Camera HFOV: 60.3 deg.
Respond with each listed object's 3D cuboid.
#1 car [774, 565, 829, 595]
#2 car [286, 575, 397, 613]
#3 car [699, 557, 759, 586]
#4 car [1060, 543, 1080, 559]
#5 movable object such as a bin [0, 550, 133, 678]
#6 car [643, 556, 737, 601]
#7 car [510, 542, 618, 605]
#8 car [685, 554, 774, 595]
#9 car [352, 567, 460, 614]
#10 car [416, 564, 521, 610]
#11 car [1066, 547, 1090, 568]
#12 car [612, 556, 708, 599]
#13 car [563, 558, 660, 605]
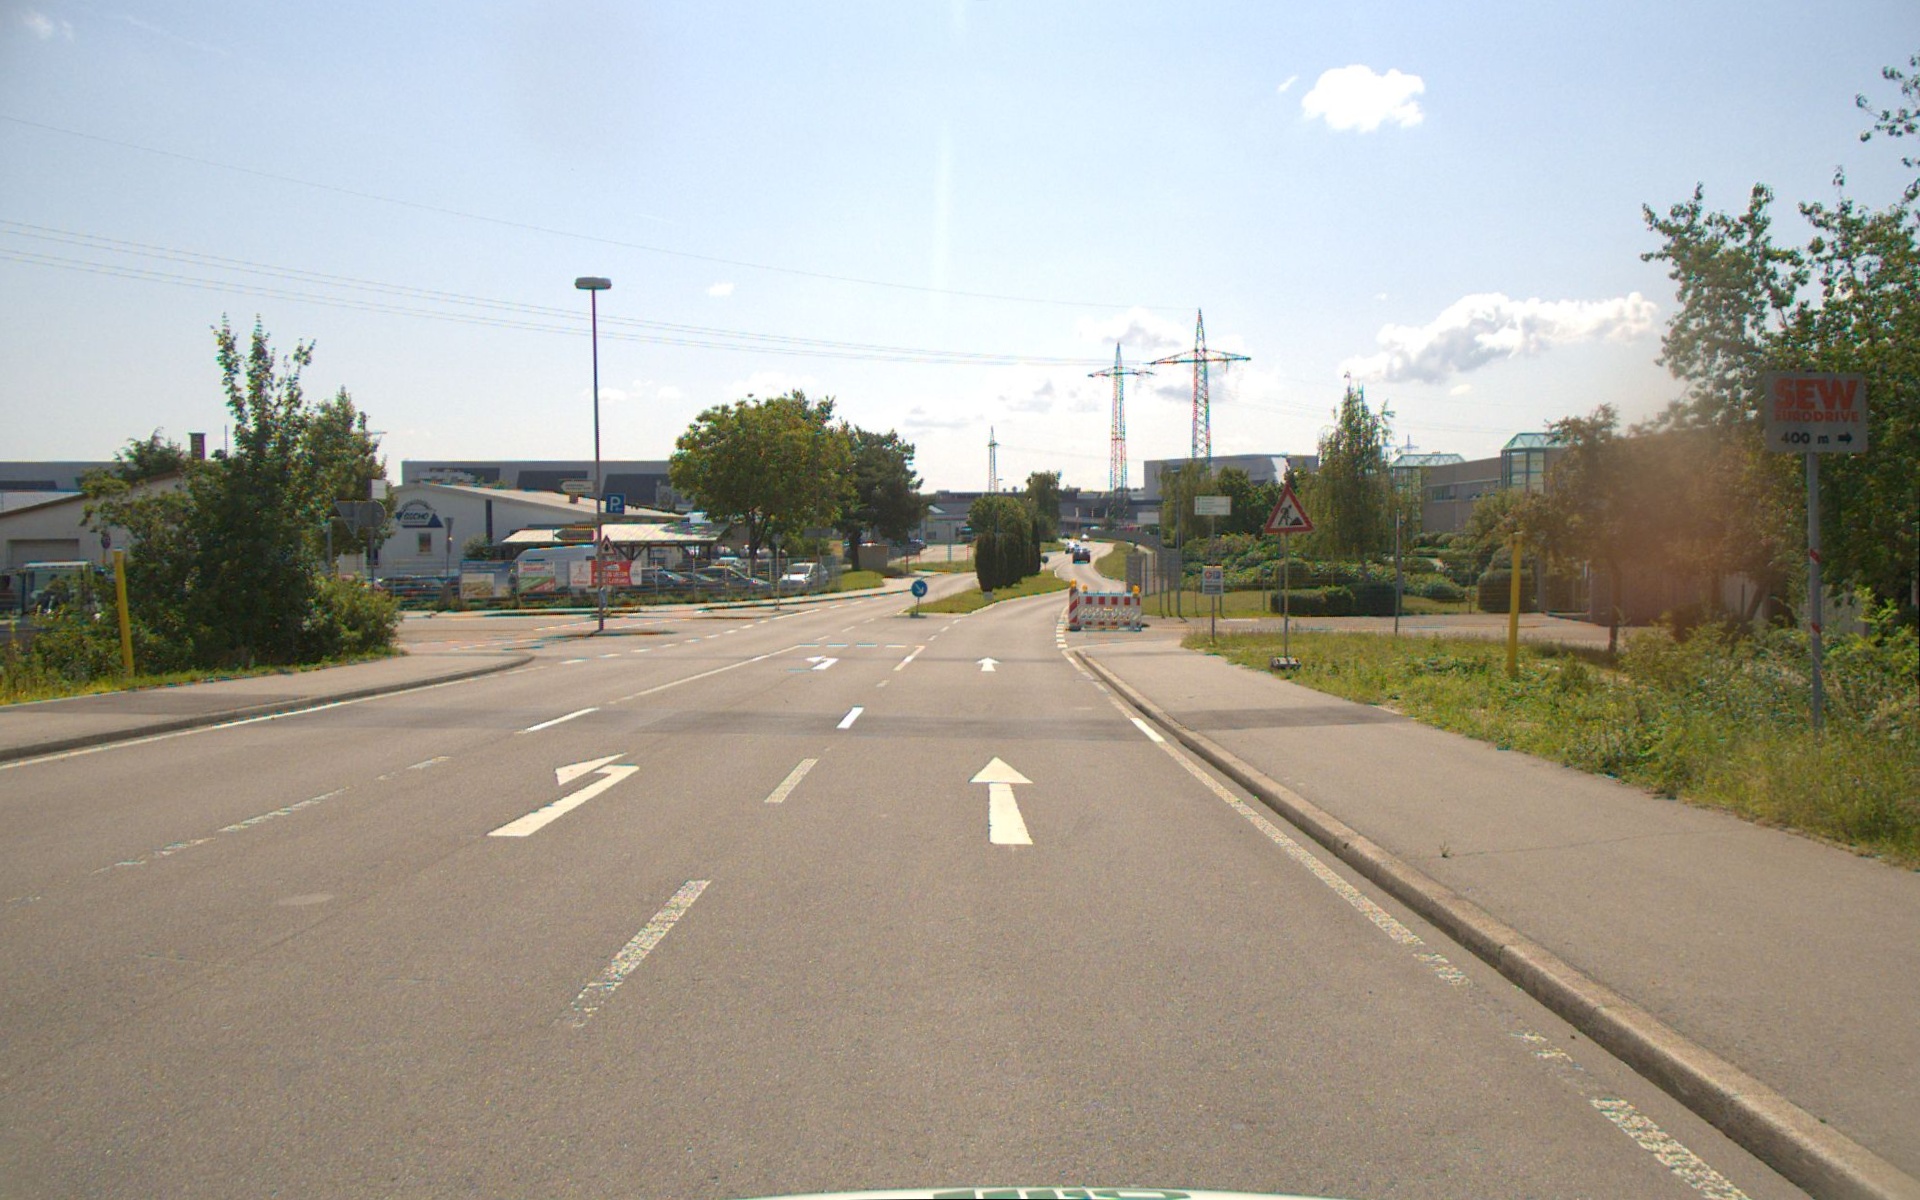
[{"bbox_3d":[-8.502,-1.091,89.056,1.790,1.544,3.591,0,2,15],"label":"car"},{"bbox_3d":[-23.723,-0.240,63.422,3.914,1.400,1.995,0,1,32],"label":"car"},{"bbox_3d":[-15.258,-1.896,109.196,3.914,1.882,1.830,-1,1,-10],"label":"car"},{"bbox_3d":[15.071,-6.761,226.794,2.438,2.048,4.670,0,3,7],"label":"car"},{"bbox_3d":[-21.196,0.324,38.341,2.035,2.746,5.722,0,-1,-10],"label":"movable object such as a bin"},{"bbox_3d":[-12.621,-1.038,77.290,3.911,1.936,1.998,2,3,28],"label":"car"},{"bbox_3d":[-17.014,-1.131,71.028,4.269,2.654,1.997,0,1,29],"label":"car"},{"bbox_3d":[-11.468,-1.294,82.180,3.906,1.936,2.000,1,3,22],"label":"car"},{"bbox_3d":[-21.830,-0.402,65.189,3.915,1.682,1.996,2,3,32],"label":"car"},{"bbox_3d":[-19.982,-0.549,67.256,3.915,1.708,1.996,2,3,32],"label":"car"},{"bbox_3d":[12.085,-4.398,169.834,2.224,1.980,4.668,3,2,3],"label":"car"},{"bbox_3d":[-13.672,-1.047,75.291,3.911,1.811,1.998,2,3,29],"label":"car"},{"bbox_3d":[-15.409,-0.842,73.035,3.916,1.936,1.995,2,3,33],"label":"car"}]
